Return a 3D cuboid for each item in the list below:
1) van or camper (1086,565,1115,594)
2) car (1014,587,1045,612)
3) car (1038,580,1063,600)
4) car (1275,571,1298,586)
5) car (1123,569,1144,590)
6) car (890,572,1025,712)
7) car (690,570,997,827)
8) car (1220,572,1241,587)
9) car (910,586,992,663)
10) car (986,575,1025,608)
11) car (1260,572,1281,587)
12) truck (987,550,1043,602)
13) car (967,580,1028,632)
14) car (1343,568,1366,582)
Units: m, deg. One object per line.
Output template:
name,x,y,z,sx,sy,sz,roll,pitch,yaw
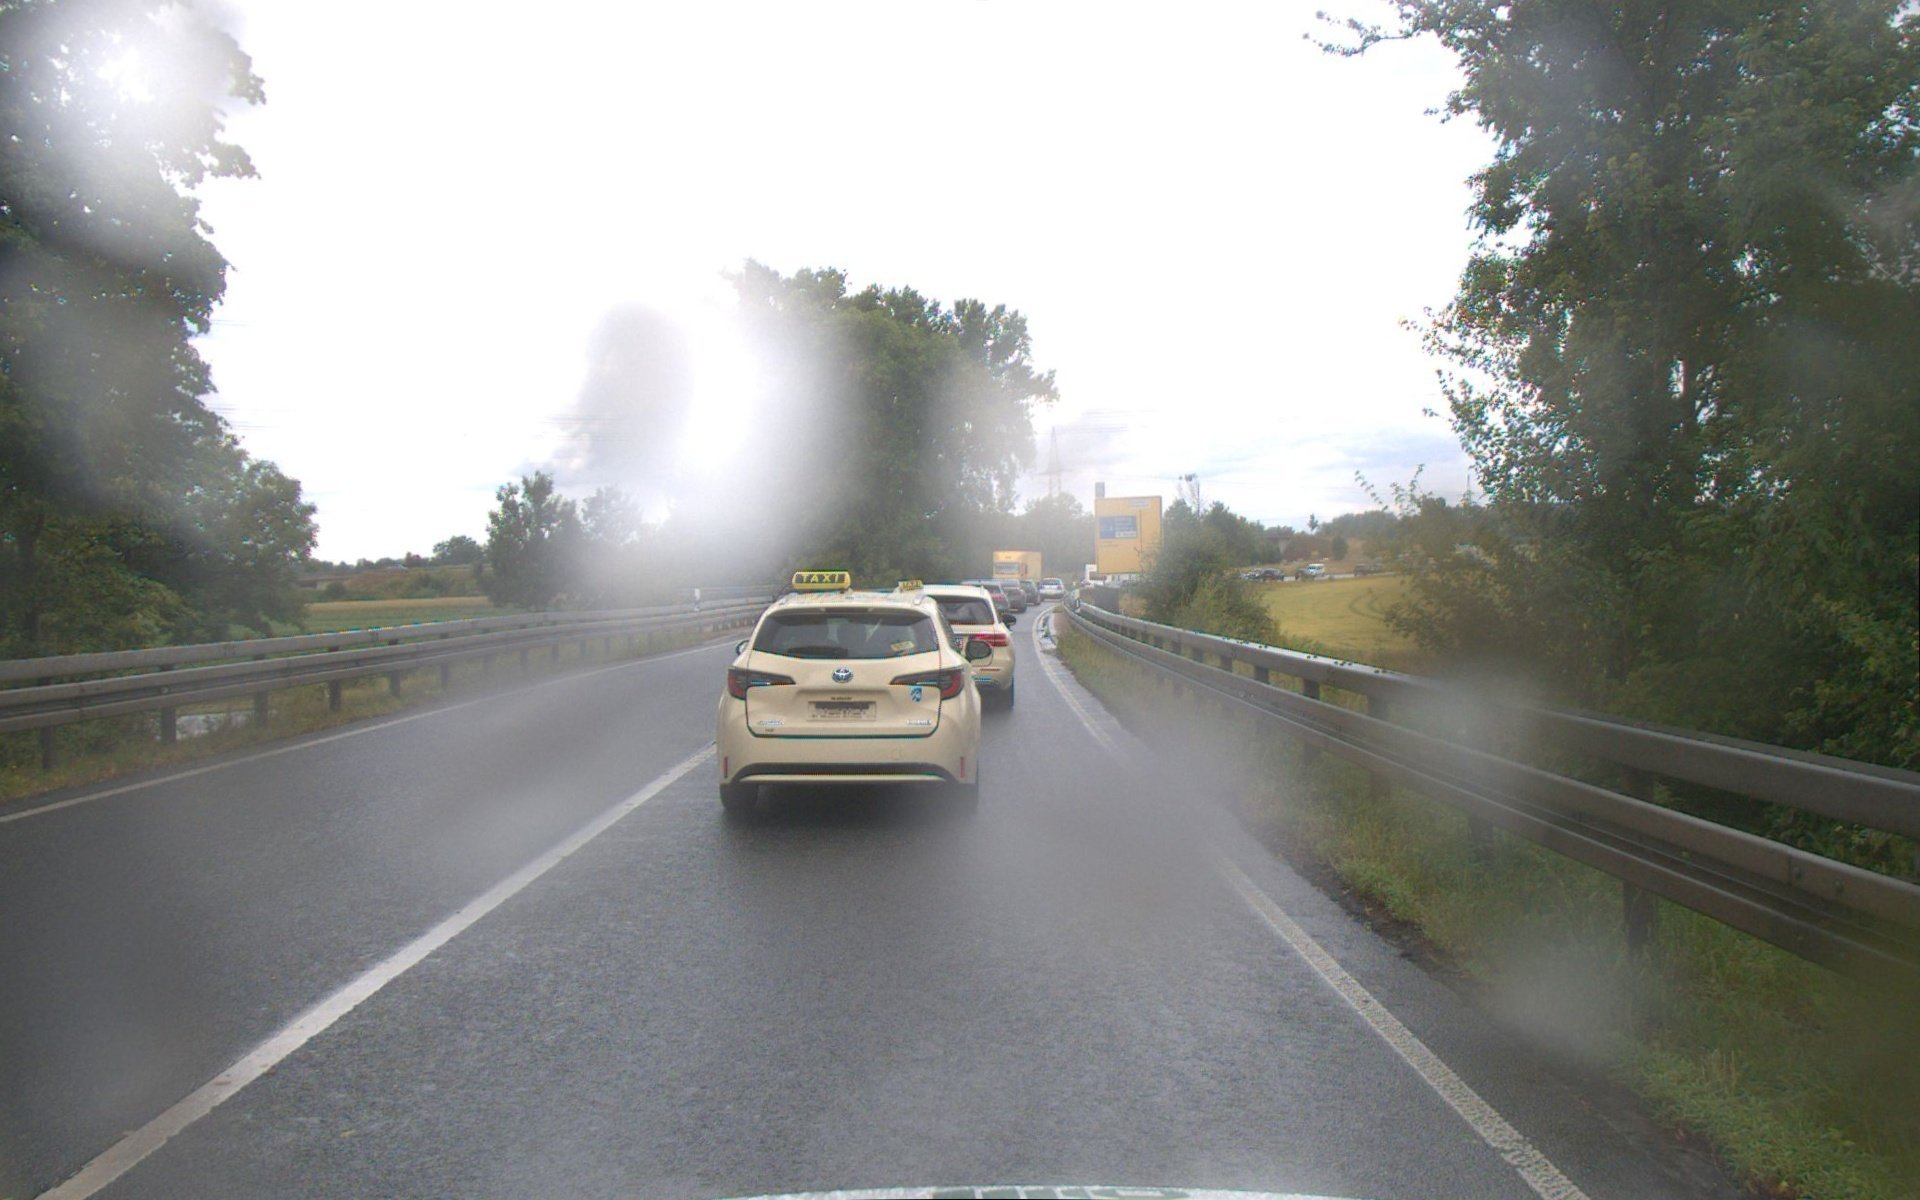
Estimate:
van or camper,11.651,-1.699,137.191,1.951,2.293,4.003,1,0,11
car,3.851,-0.054,91.581,1.451,1.332,3.479,0,0,7
car,5.986,-0.658,109.209,1.451,1.332,3.479,0,0,6
car,45.034,-2.944,228.127,1.957,2.049,3.992,0,0,30
car,16.491,-1.940,156.834,1.695,1.851,4.003,1,0,10
car,0.001,0.465,20.818,1.545,1.600,3.682,0,0,1
car,-0.717,0.588,12.164,1.867,1.564,4.161,0,0,0
car,33.699,-2.567,205.748,1.880,1.870,4.001,1,0,19
car,-0.140,0.465,33.539,1.474,1.462,3.357,1,0,3
car,2.076,-0.372,74.757,1.625,1.434,3.906,0,0,3
car,41.271,-2.719,219.485,1.783,1.870,3.985,0,0,26
truck,4.140,-1.878,122.052,2.712,3.488,9.198,2,3,10
car,1.067,0.153,48.818,1.631,1.489,3.476,0,0,-1
car,59.911,-3.747,251.334,2.104,2.049,3.987,0,0,34
